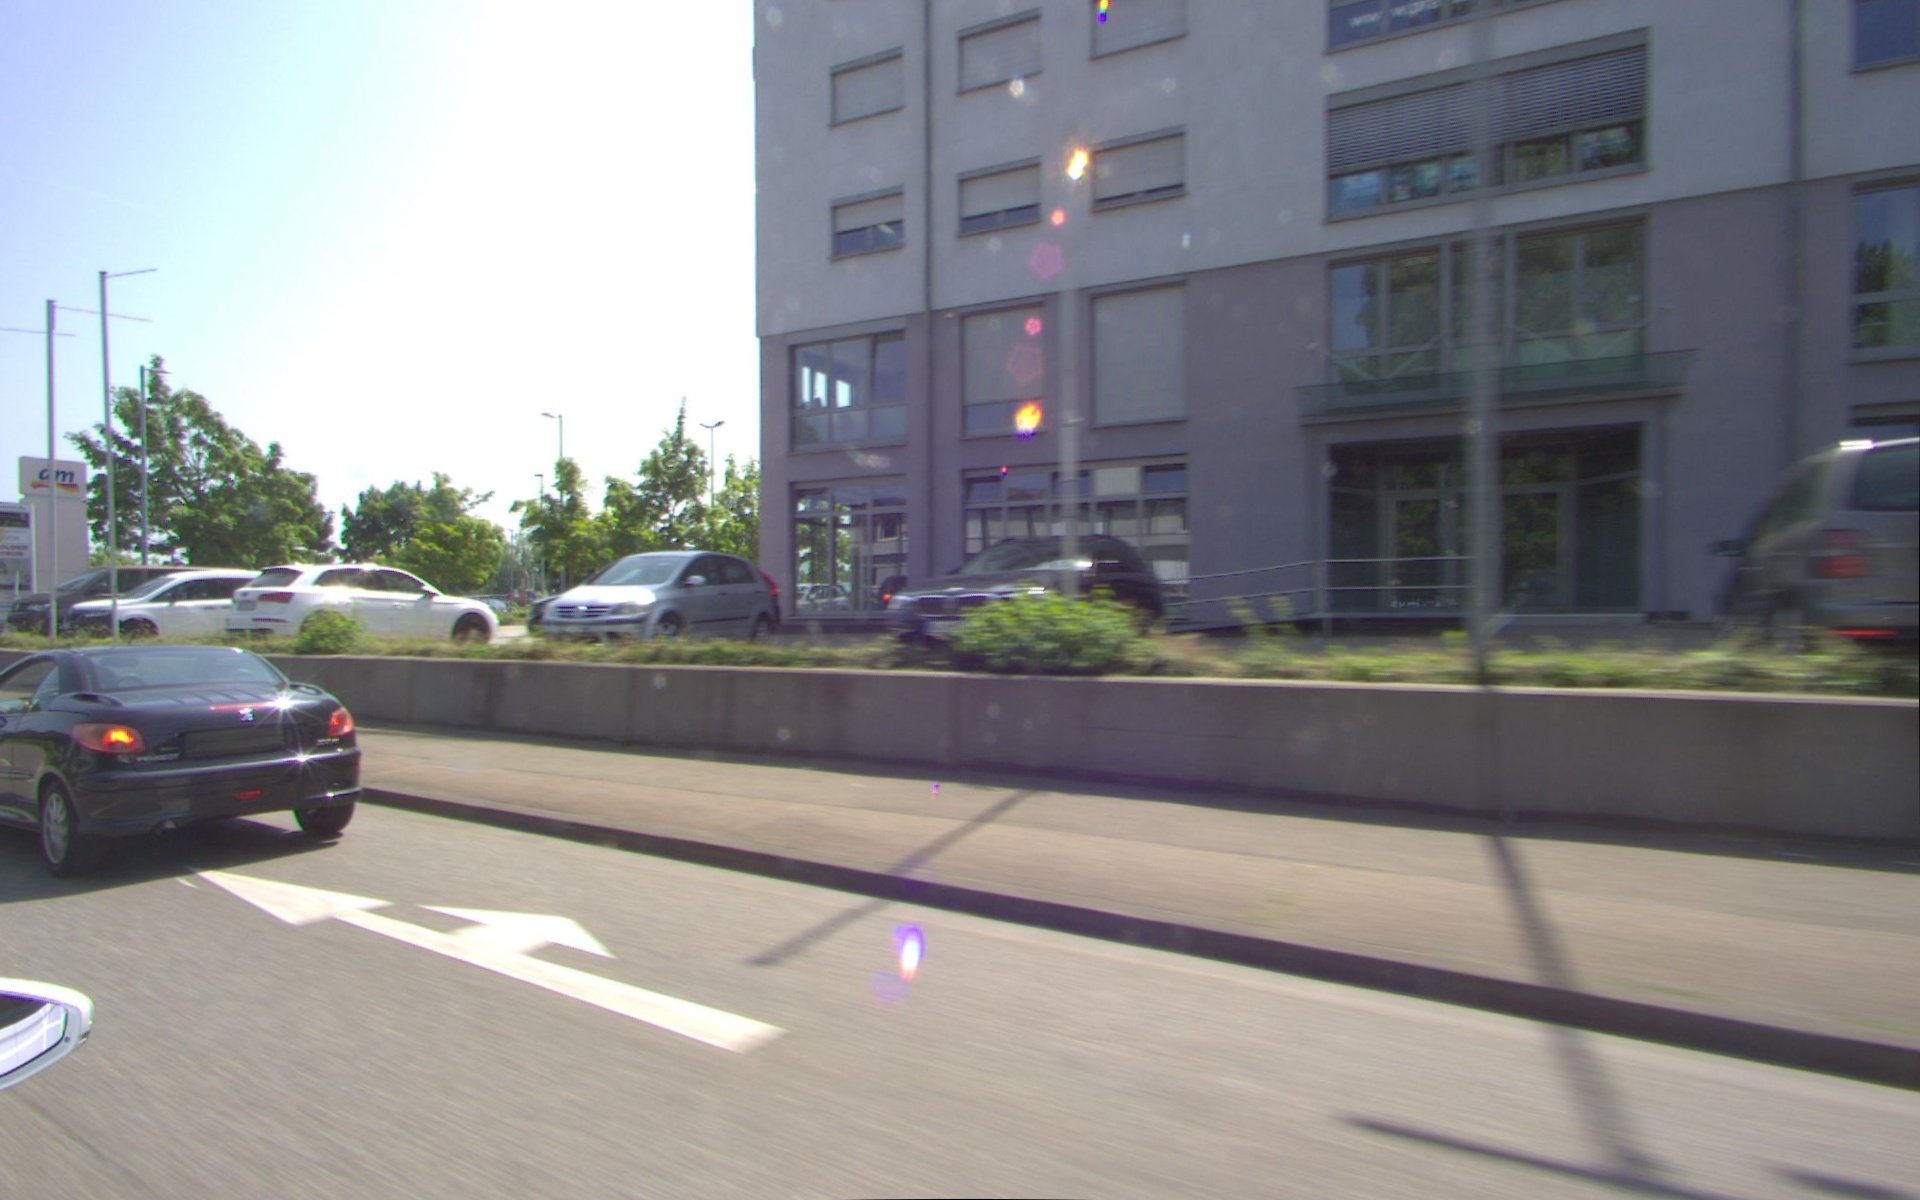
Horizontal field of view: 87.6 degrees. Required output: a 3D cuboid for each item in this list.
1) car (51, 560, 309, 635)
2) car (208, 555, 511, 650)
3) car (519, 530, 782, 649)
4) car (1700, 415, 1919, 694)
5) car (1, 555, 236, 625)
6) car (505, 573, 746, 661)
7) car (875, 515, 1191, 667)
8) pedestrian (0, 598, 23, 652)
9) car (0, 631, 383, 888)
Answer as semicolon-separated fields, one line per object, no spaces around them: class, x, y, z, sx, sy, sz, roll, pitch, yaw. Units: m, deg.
car;-18.146;-0.060;23.525;1.970;1.565;4.340;-1;0;29
car;-11.145;0.026;18.961;1.971;1.565;4.527;-1;0;31
car;-4.293;-0.129;14.588;1.733;1.471;3.927;-1;0;17
car;7.138;-0.293;7.615;1.970;1.669;4.220;-1;0;30
car;-20.598;-0.224;24.686;1.970;1.565;3.981;-1;0;29
car;-6.148;0.273;18.689;1.747;1.471;3.897;0;0;45
car;1.060;-0.090;11.520;1.970;1.387;4.314;-1;0;30
pedestrian;-30.358;0.794;31.815;0.737;1.708;0.653;0;0;31
car;-5.998;0.955;7.305;3.553;1.381;1.625;0;-1;32
